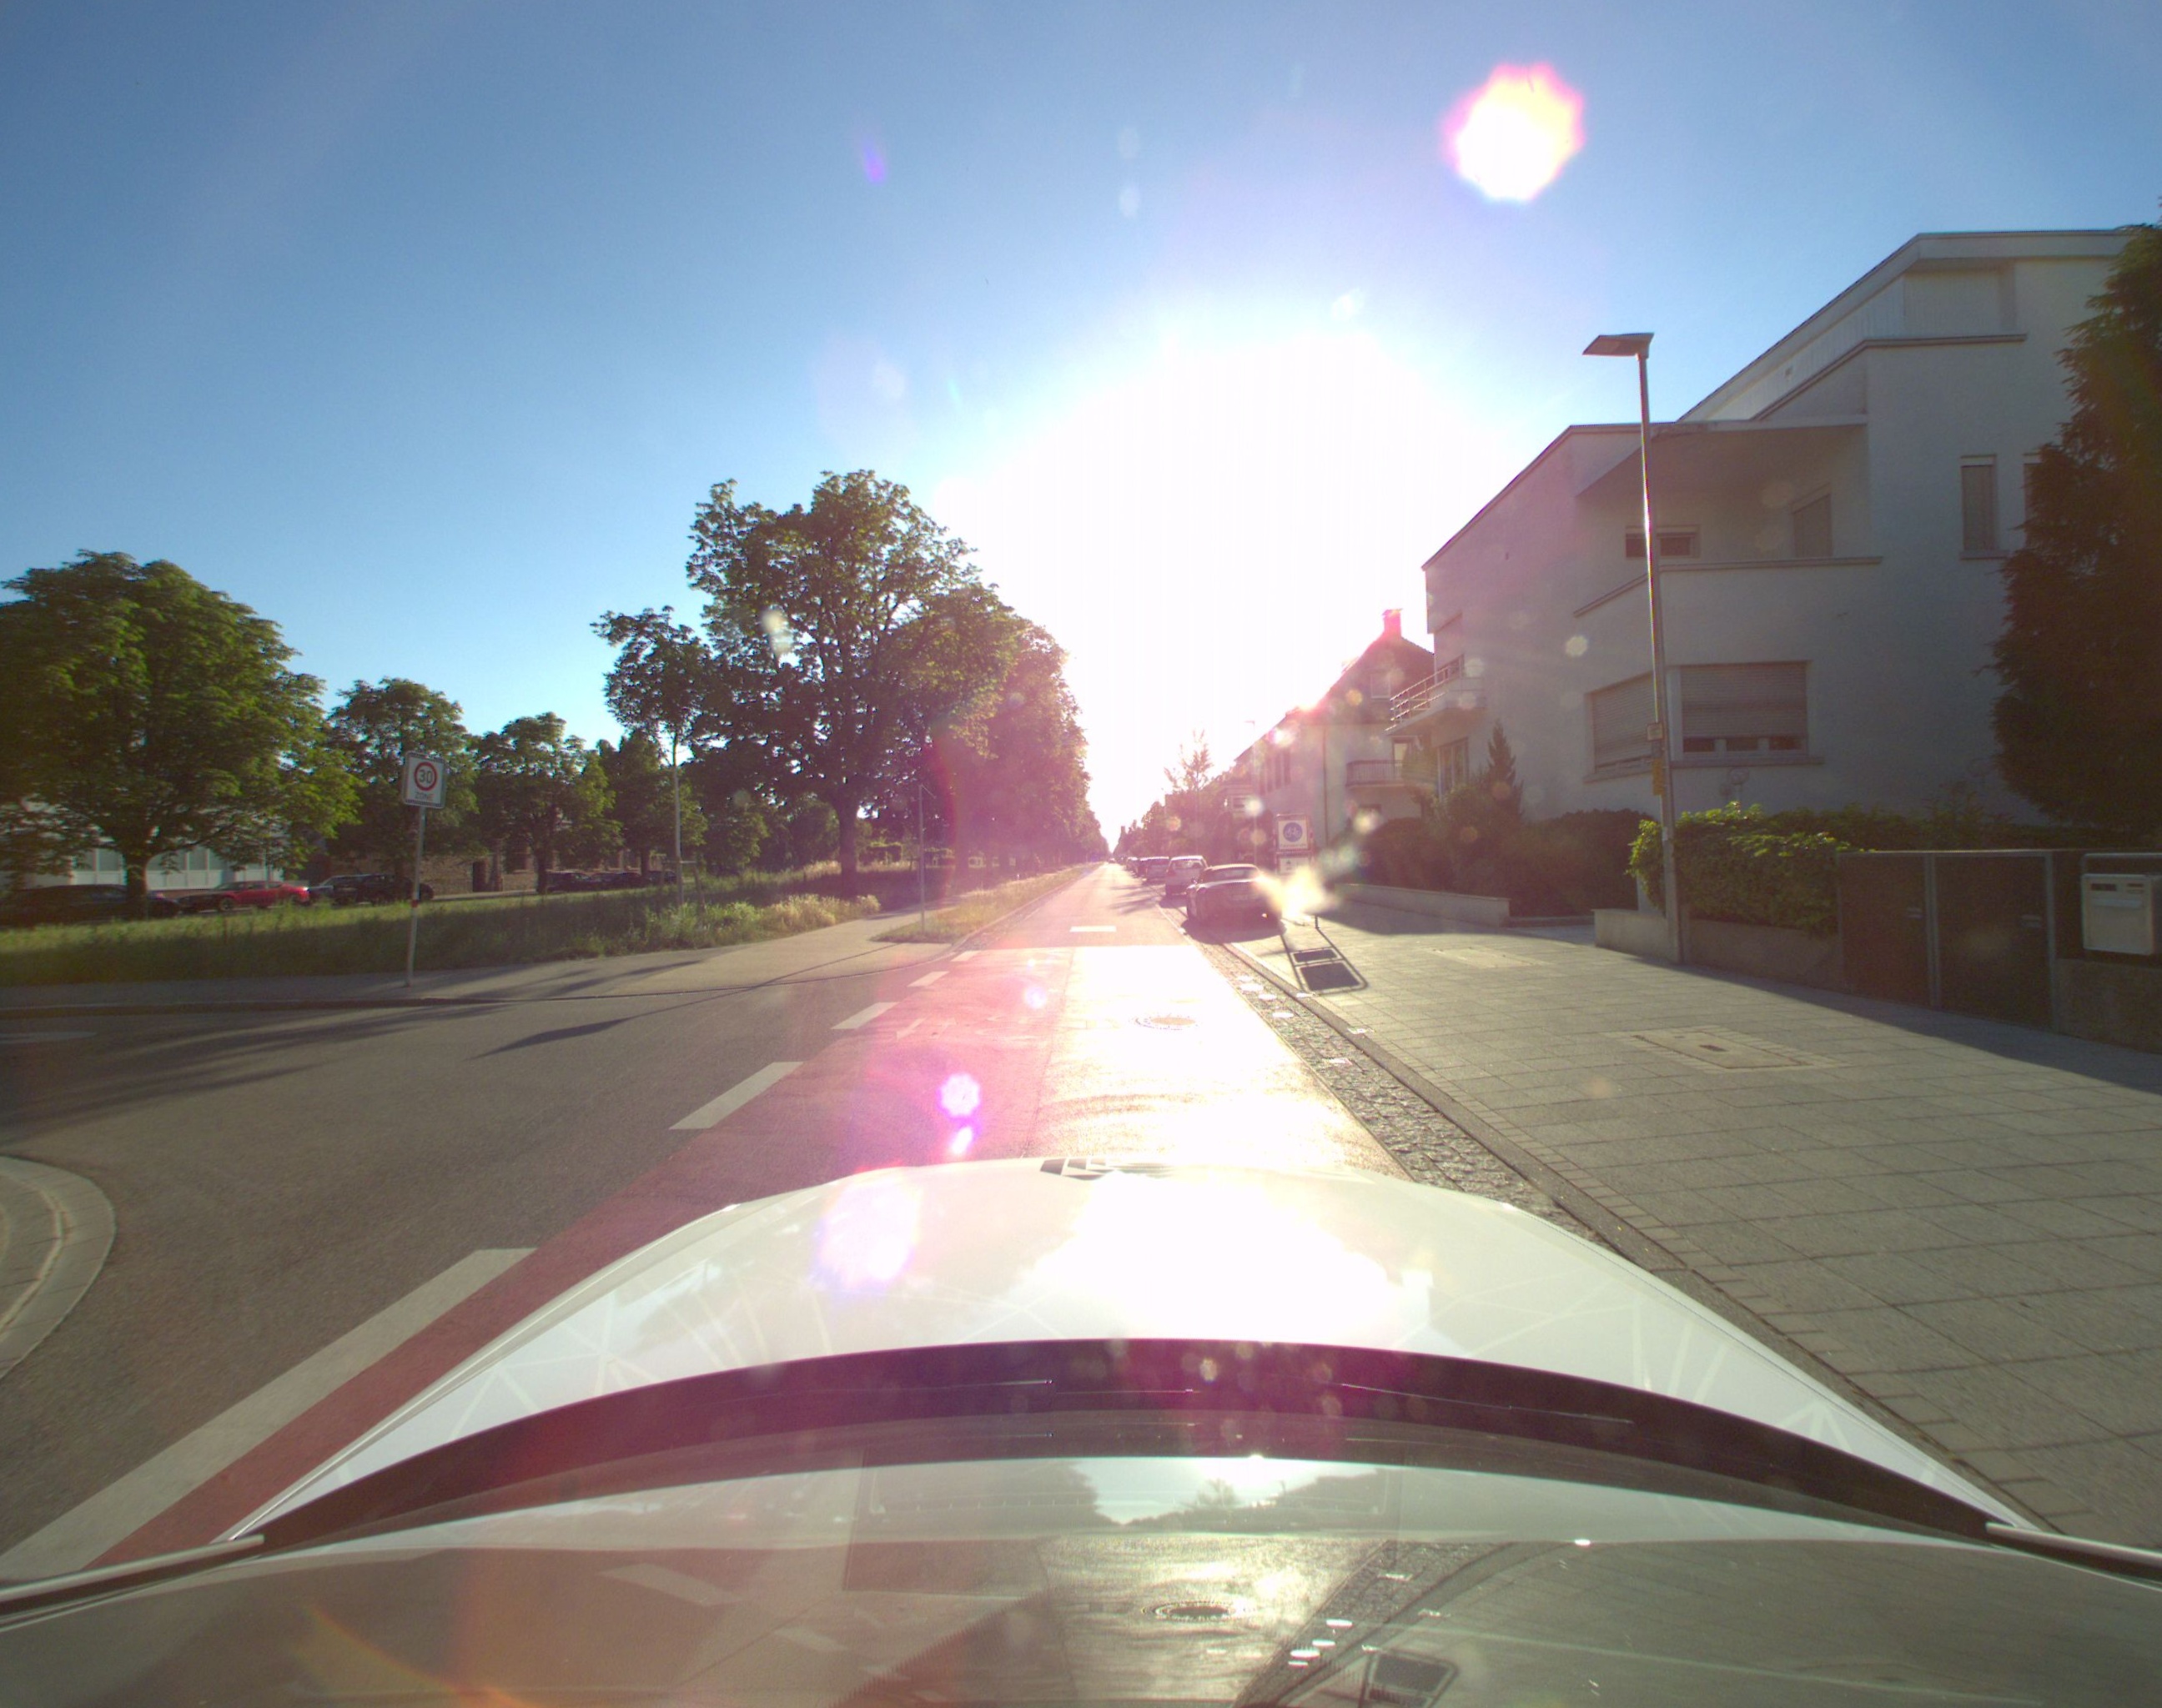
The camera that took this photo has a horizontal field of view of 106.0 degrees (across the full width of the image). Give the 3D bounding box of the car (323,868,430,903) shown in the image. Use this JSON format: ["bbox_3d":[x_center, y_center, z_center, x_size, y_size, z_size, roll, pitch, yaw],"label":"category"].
[{"bbox_3d":[-35.593,1.562,41.299,1.686,1.597,4.222,-1,0,1],"label":"car"}]

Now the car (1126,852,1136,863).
[{"bbox_3d":[7.300,0.566,118.954,1.492,1.567,3.269,-2,-1,3],"label":"car"}]

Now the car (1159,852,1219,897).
[{"bbox_3d":[4.033,0.740,30.964,1.738,1.474,3.923,-4,0,1],"label":"car"}]

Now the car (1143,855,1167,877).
[{"bbox_3d":[5.573,0.894,61.226,1.649,1.494,3.722,-3,-1,6],"label":"car"}]

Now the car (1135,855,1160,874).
[{"bbox_3d":[5.481,0.862,67.393,1.730,1.449,4.197,-3,-1,1],"label":"car"}]

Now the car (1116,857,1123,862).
[{"bbox_3d":[10.633,1.480,224.747,1.645,1.541,3.269,0,0,3],"label":"car"}]

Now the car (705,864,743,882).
[{"bbox_3d":[-34.146,1.766,77.985,1.686,1.597,4.222,-1,0,1],"label":"car"}]

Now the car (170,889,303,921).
[{"bbox_3d":[-40.631,2.422,39.351,1.563,1.332,4.483,0,0,3],"label":"car"}]

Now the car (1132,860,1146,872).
[{"bbox_3d":[7.078,1.424,100.036,1.645,1.396,3.269,-2,-1,3],"label":"car"}]

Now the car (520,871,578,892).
[{"bbox_3d":[-40.399,2.066,61.915,1.623,1.406,4.002,-1,0,2],"label":"car"}]

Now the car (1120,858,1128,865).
[{"bbox_3d":[9.497,1.579,180.740,1.645,1.541,3.269,0,0,3],"label":"car"}]

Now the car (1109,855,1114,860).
[{"bbox_3d":[9.161,1.022,243.025,1.645,1.541,3.268,0,0,2],"label":"car"}]

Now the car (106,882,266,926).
[{"bbox_3d":[-35.603,1.932,32.593,1.687,1.476,4.221,-1,0,0],"label":"car"}]

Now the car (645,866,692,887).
[{"bbox_3d":[-34.254,1.848,67.771,1.686,1.597,4.222,-1,0,1],"label":"car"}]

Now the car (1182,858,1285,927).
[{"bbox_3d":[3.515,0.837,19.536,1.767,1.288,4.275,-4,0,3],"label":"car"}]

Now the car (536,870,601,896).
[{"bbox_3d":[-35.042,1.955,55.788,1.686,1.597,4.222,-1,0,1],"label":"car"}]

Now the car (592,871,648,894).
[{"bbox_3d":[-34.745,2.134,61.485,1.686,1.597,4.222,-1,0,1],"label":"car"}]

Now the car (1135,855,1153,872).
[{"bbox_3d":[5.937,0.883,77.081,1.586,1.510,3.594,-2,-1,3],"label":"car"}]

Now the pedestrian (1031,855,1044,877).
[{"bbox_3d":[-3.189,0.882,59.835,0.779,1.614,0.953,-1,0,5],"label":"pedestrian"}]

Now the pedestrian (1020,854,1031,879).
[{"bbox_3d":[-4.031,0.917,59.470,0.621,1.831,0.887,-1,0,5],"label":"pedestrian"}]

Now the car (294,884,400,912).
[{"bbox_3d":[-40.351,2.384,44.927,1.563,1.332,4.483,0,0,3],"label":"car"}]

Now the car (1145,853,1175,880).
[{"bbox_3d":[4.878,0.753,50.918,1.621,1.504,3.636,-3,0,3],"label":"car"}]
